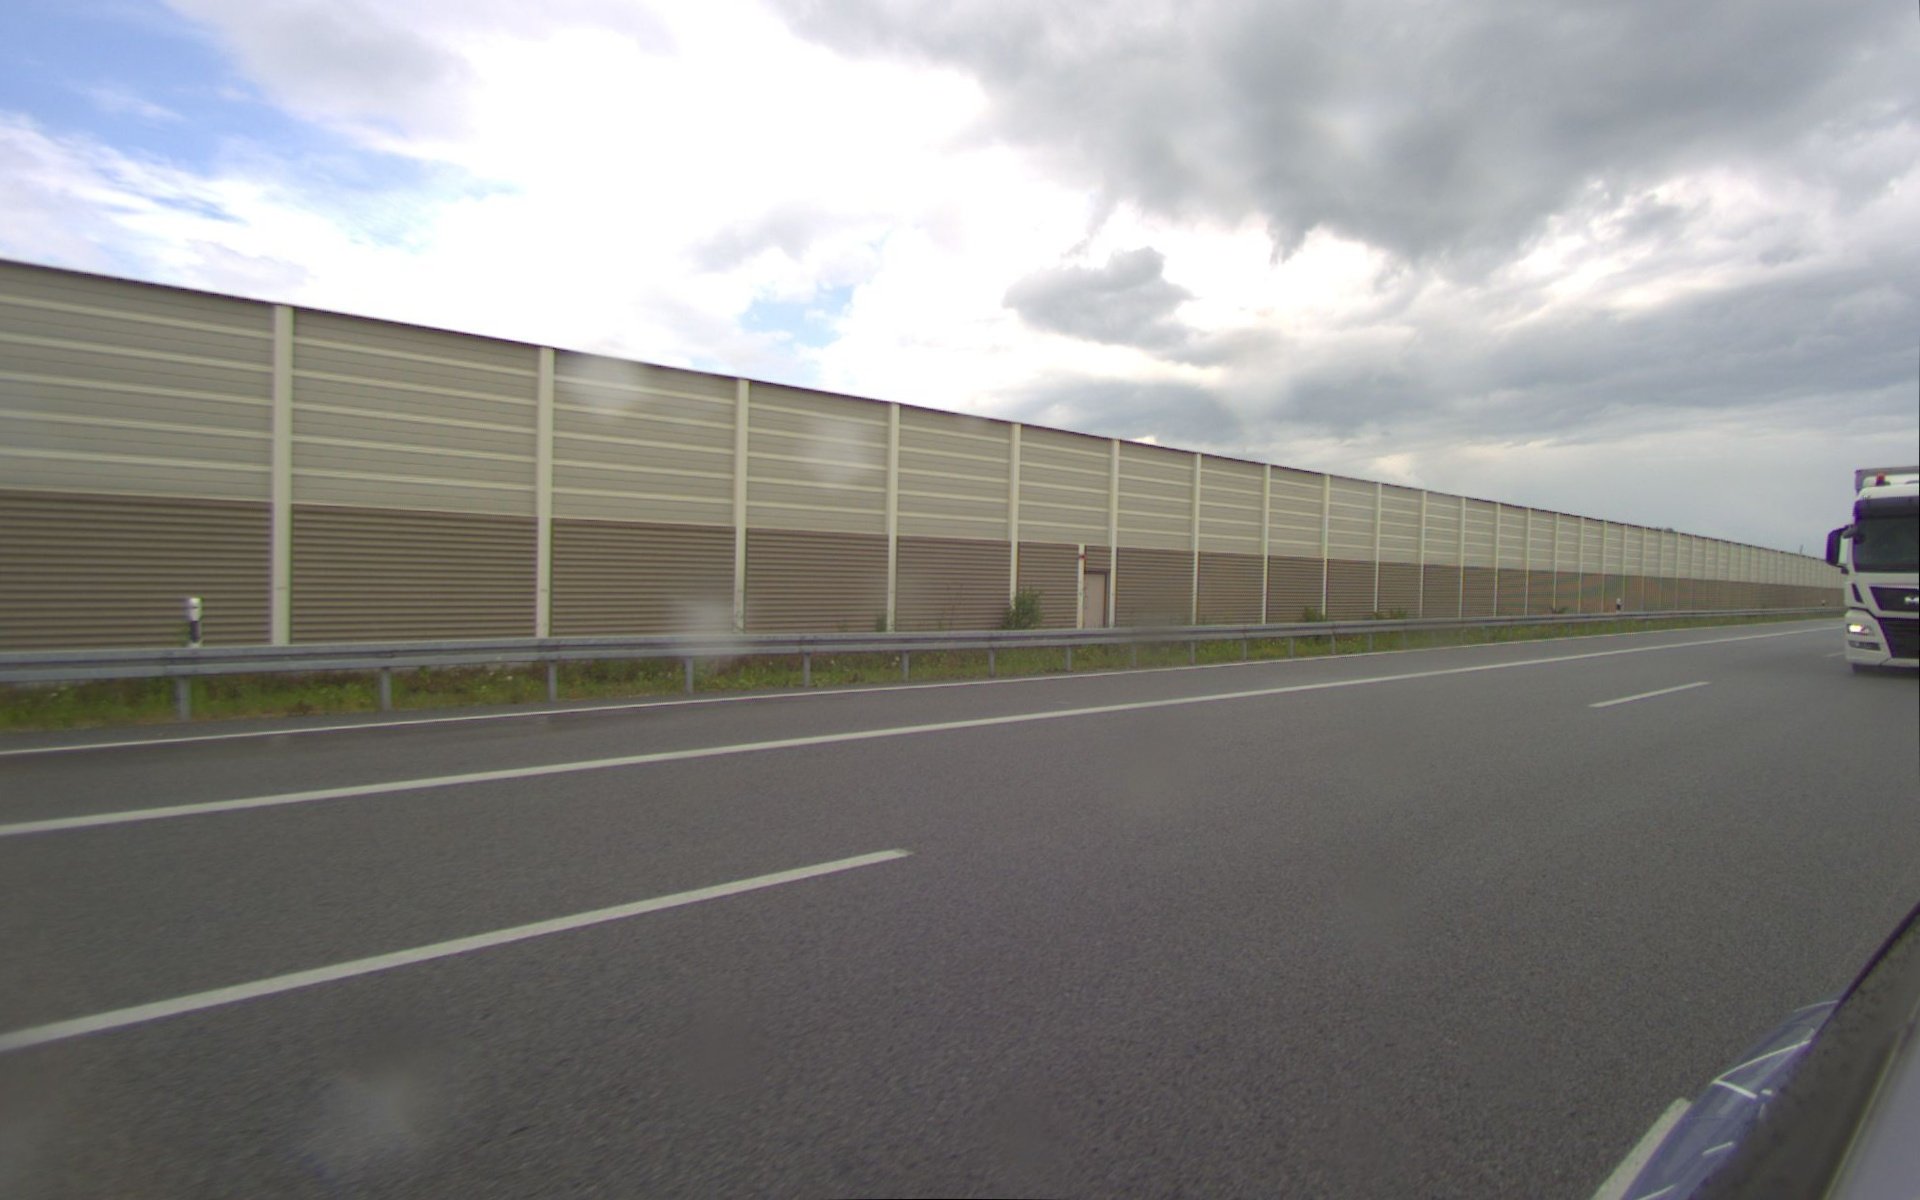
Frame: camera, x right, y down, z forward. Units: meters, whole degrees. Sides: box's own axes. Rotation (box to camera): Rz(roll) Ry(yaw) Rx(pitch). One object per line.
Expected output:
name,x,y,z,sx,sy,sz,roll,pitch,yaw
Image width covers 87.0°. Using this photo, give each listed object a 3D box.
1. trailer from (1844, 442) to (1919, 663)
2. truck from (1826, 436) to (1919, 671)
trailer,23.773,-0.968,23.315,12.958,4.266,2.925,-1,0,-39
truck,19.292,-0.851,19.678,5.100,4.223,2.911,0,0,-40
